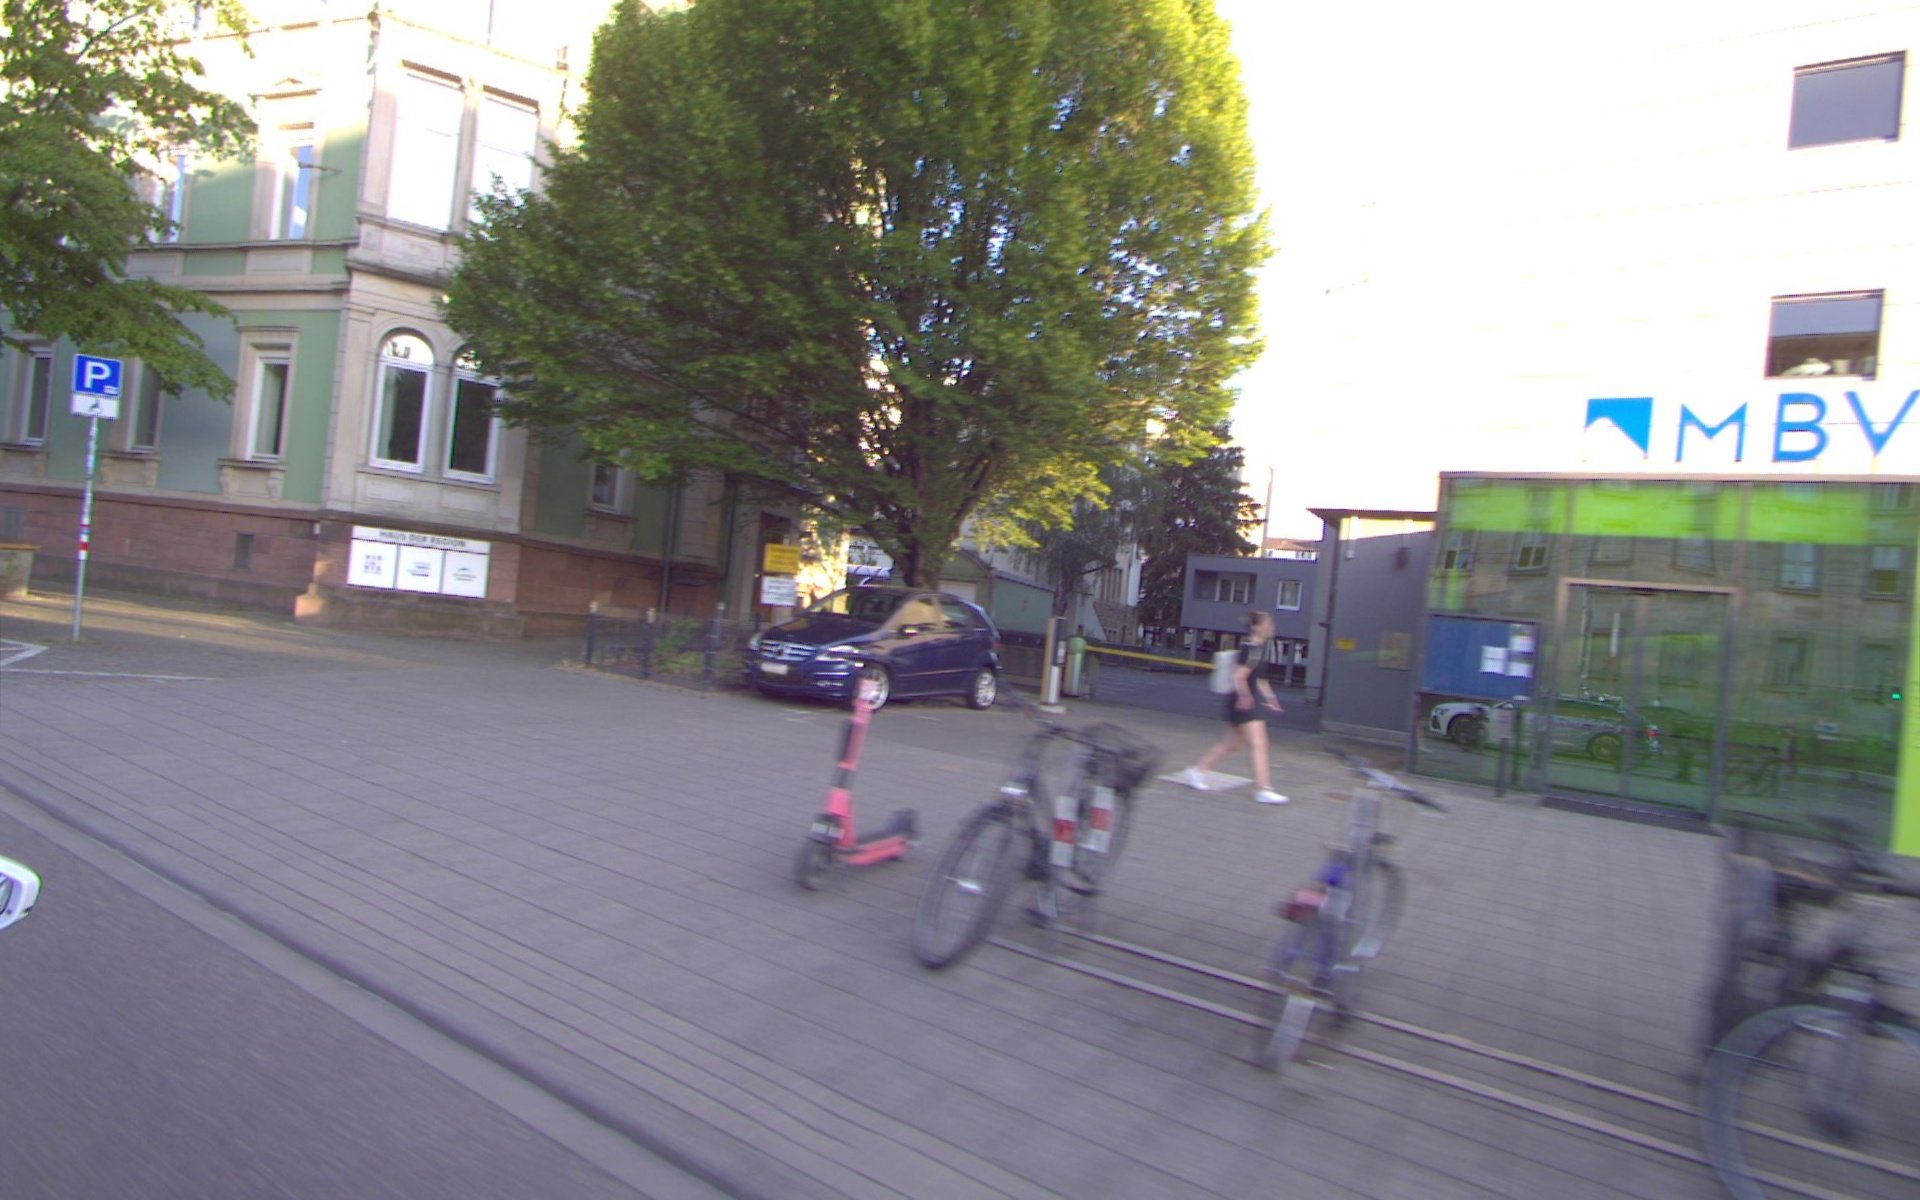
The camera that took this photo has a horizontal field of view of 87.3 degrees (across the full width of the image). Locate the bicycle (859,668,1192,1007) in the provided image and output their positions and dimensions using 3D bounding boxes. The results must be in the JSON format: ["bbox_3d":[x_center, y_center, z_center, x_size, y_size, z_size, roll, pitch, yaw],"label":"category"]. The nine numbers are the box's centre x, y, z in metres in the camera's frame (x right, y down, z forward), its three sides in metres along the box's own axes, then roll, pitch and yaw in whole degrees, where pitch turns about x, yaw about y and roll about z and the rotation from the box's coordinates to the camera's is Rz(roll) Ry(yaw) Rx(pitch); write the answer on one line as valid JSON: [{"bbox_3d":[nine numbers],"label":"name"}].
[{"bbox_3d":[0.366,0.957,4.563,0.732,1.177,1.527,6,-1,34],"label":"bicycle"}]

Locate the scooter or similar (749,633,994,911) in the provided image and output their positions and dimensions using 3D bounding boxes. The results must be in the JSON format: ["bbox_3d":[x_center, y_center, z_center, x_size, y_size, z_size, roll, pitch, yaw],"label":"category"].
[{"bbox_3d":[-0.427,0.832,5.323,0.581,1.241,1.200,6,1,33],"label":"scooter or similar"}]

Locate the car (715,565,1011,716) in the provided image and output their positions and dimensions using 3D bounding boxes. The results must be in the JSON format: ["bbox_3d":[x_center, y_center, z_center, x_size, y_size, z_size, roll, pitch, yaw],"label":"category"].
[{"bbox_3d":[-1.134,0.600,13.596,1.774,1.593,3.989,7,-1,32],"label":"car"}]

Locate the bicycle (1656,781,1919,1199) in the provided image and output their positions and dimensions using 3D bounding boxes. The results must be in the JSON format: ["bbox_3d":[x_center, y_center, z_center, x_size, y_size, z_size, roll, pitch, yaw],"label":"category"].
[{"bbox_3d":[2.737,1.242,3.211,0.732,1.087,1.756,6,-1,34],"label":"bicycle"}]

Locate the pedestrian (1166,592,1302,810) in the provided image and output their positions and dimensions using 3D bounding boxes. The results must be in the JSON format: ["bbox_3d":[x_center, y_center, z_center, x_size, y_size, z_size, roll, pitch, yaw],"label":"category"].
[{"bbox_3d":[2.491,0.889,9.134,0.971,1.789,0.709,6,0,18],"label":"pedestrian"}]

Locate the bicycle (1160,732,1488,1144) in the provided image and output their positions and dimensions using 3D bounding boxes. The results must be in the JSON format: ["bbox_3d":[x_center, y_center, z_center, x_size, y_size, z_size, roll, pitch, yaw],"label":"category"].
[{"bbox_3d":[1.467,1.120,3.855,0.732,1.087,1.552,6,-1,34],"label":"bicycle"}]

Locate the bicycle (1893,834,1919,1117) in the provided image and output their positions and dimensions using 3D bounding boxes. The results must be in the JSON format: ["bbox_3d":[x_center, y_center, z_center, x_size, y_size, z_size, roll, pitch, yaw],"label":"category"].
[{"bbox_3d":[3.495,1.305,2.913,0.732,1.146,2.231,6,0,34],"label":"bicycle"}]

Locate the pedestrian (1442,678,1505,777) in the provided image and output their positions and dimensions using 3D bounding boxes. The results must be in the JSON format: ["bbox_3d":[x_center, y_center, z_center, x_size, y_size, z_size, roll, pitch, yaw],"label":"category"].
[{"bbox_3d":[6.950,1.709,13.610,0.606,1.223,0.542,6,0,33],"label":"pedestrian"}]
